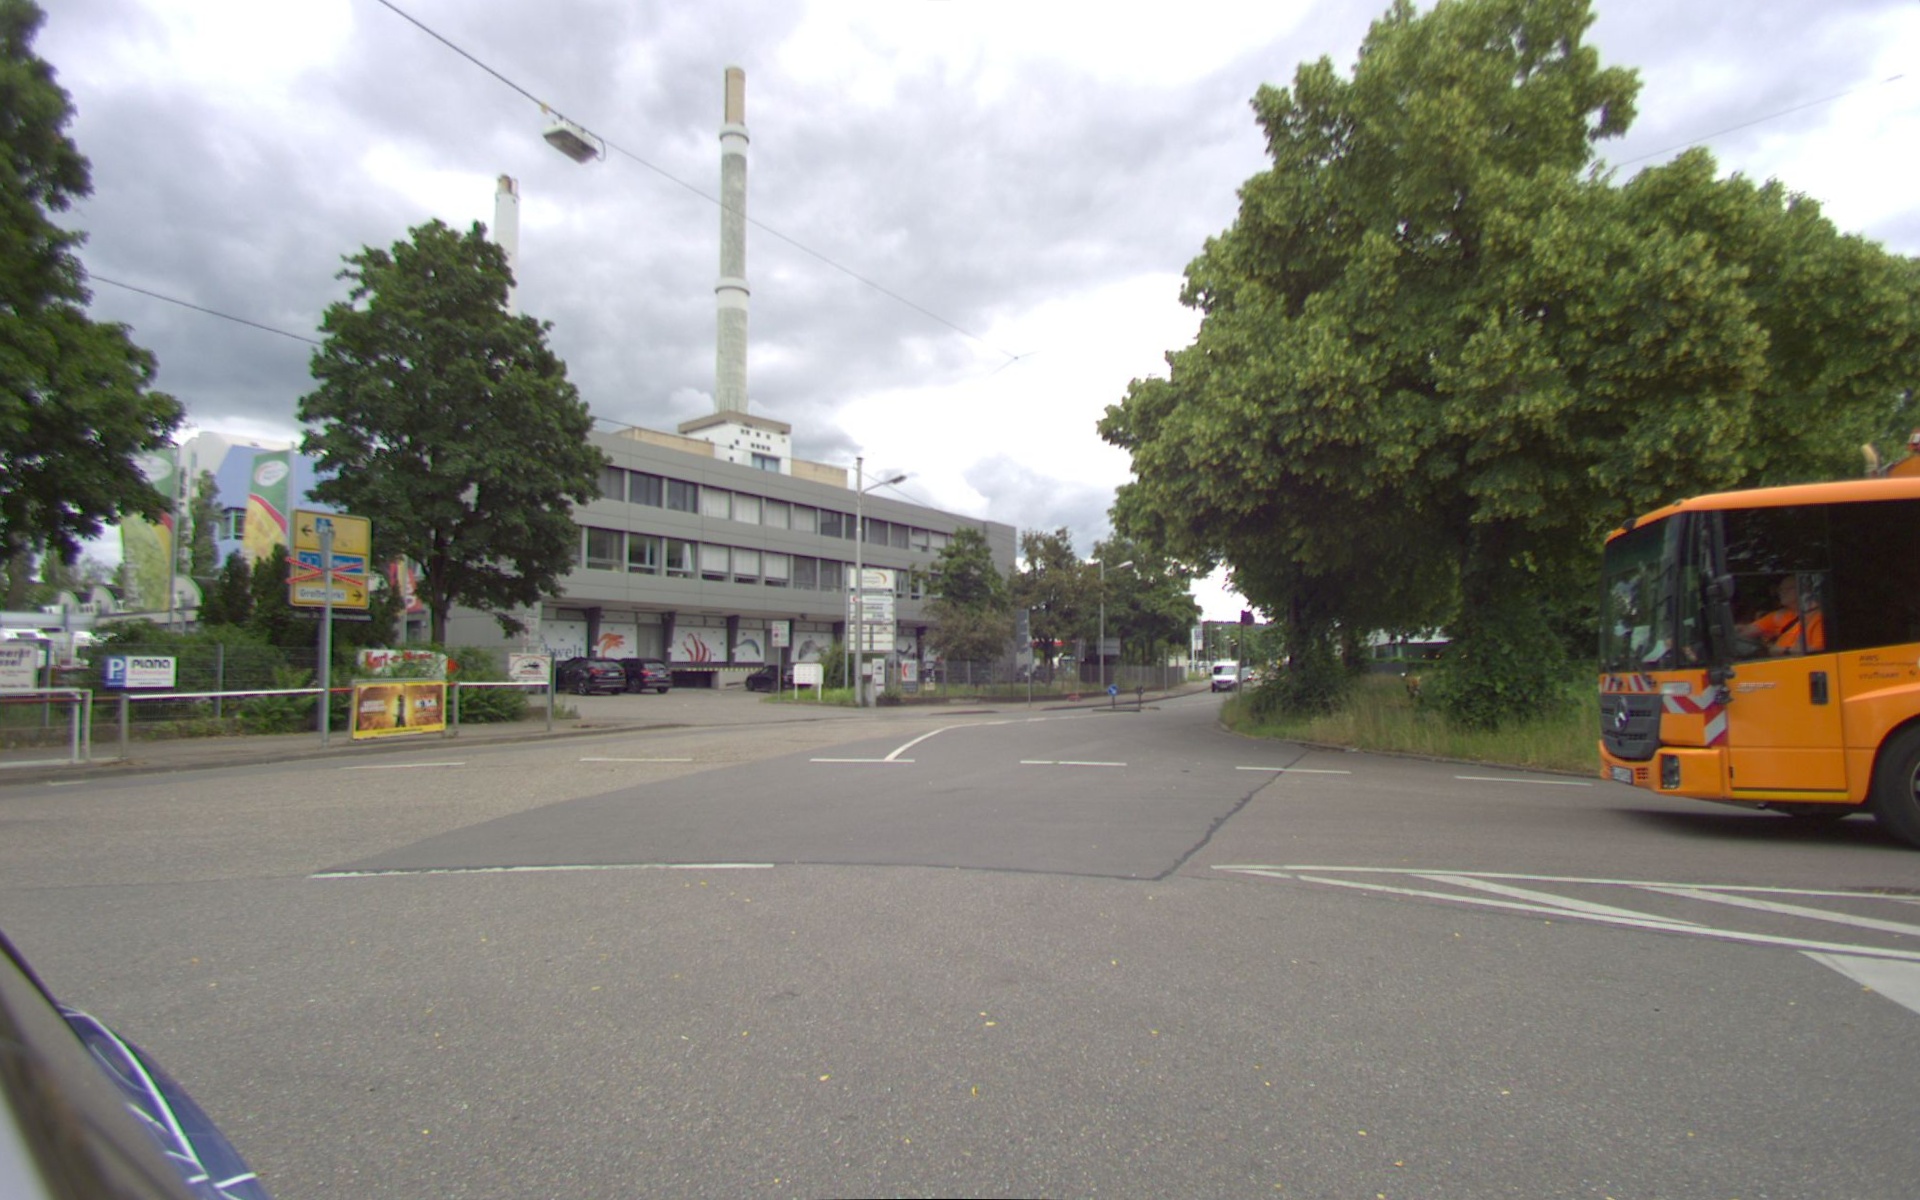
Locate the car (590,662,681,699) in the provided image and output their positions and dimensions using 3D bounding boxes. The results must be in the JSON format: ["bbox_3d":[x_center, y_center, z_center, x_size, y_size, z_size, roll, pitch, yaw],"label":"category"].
[{"bbox_3d":[-15.610,3.825,48.616,4.413,1.630,1.817,-2,-5,35],"label":"car"}]

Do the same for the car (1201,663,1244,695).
[{"bbox_3d":[21.135,6.321,81.166,2.374,2.478,6.052,-3,-5,23],"label":"car"}]

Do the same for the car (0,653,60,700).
[{"bbox_3d":[-57.876,4.512,59.415,2.238,2.754,7.071,-3,-5,34],"label":"car"}]

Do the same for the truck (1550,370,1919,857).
[{"bbox_3d":[10.789,0.012,7.681,10.331,3.554,2.782,-2,-3,17],"label":"truck"}]

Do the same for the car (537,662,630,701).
[{"bbox_3d":[-17.215,3.682,46.189,4.456,1.630,1.816,-2,-5,36],"label":"car"}]

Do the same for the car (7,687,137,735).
[{"bbox_3d":[-25.185,3.105,28.682,3.688,1.258,1.691,-3,-5,31],"label":"car"}]

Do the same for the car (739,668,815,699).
[{"bbox_3d":[-9.863,4.414,54.271,2.017,1.456,4.839,3,-3,-37],"label":"car"}]

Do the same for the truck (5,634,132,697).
[{"bbox_3d":[-63.489,4.742,71.872,15.810,4.056,2.839,-3,-5,35],"label":"truck"}]

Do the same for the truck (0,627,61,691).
[{"bbox_3d":[-65.690,4.117,68.646,15.679,3.964,2.820,-3,-5,33],"label":"truck"}]
